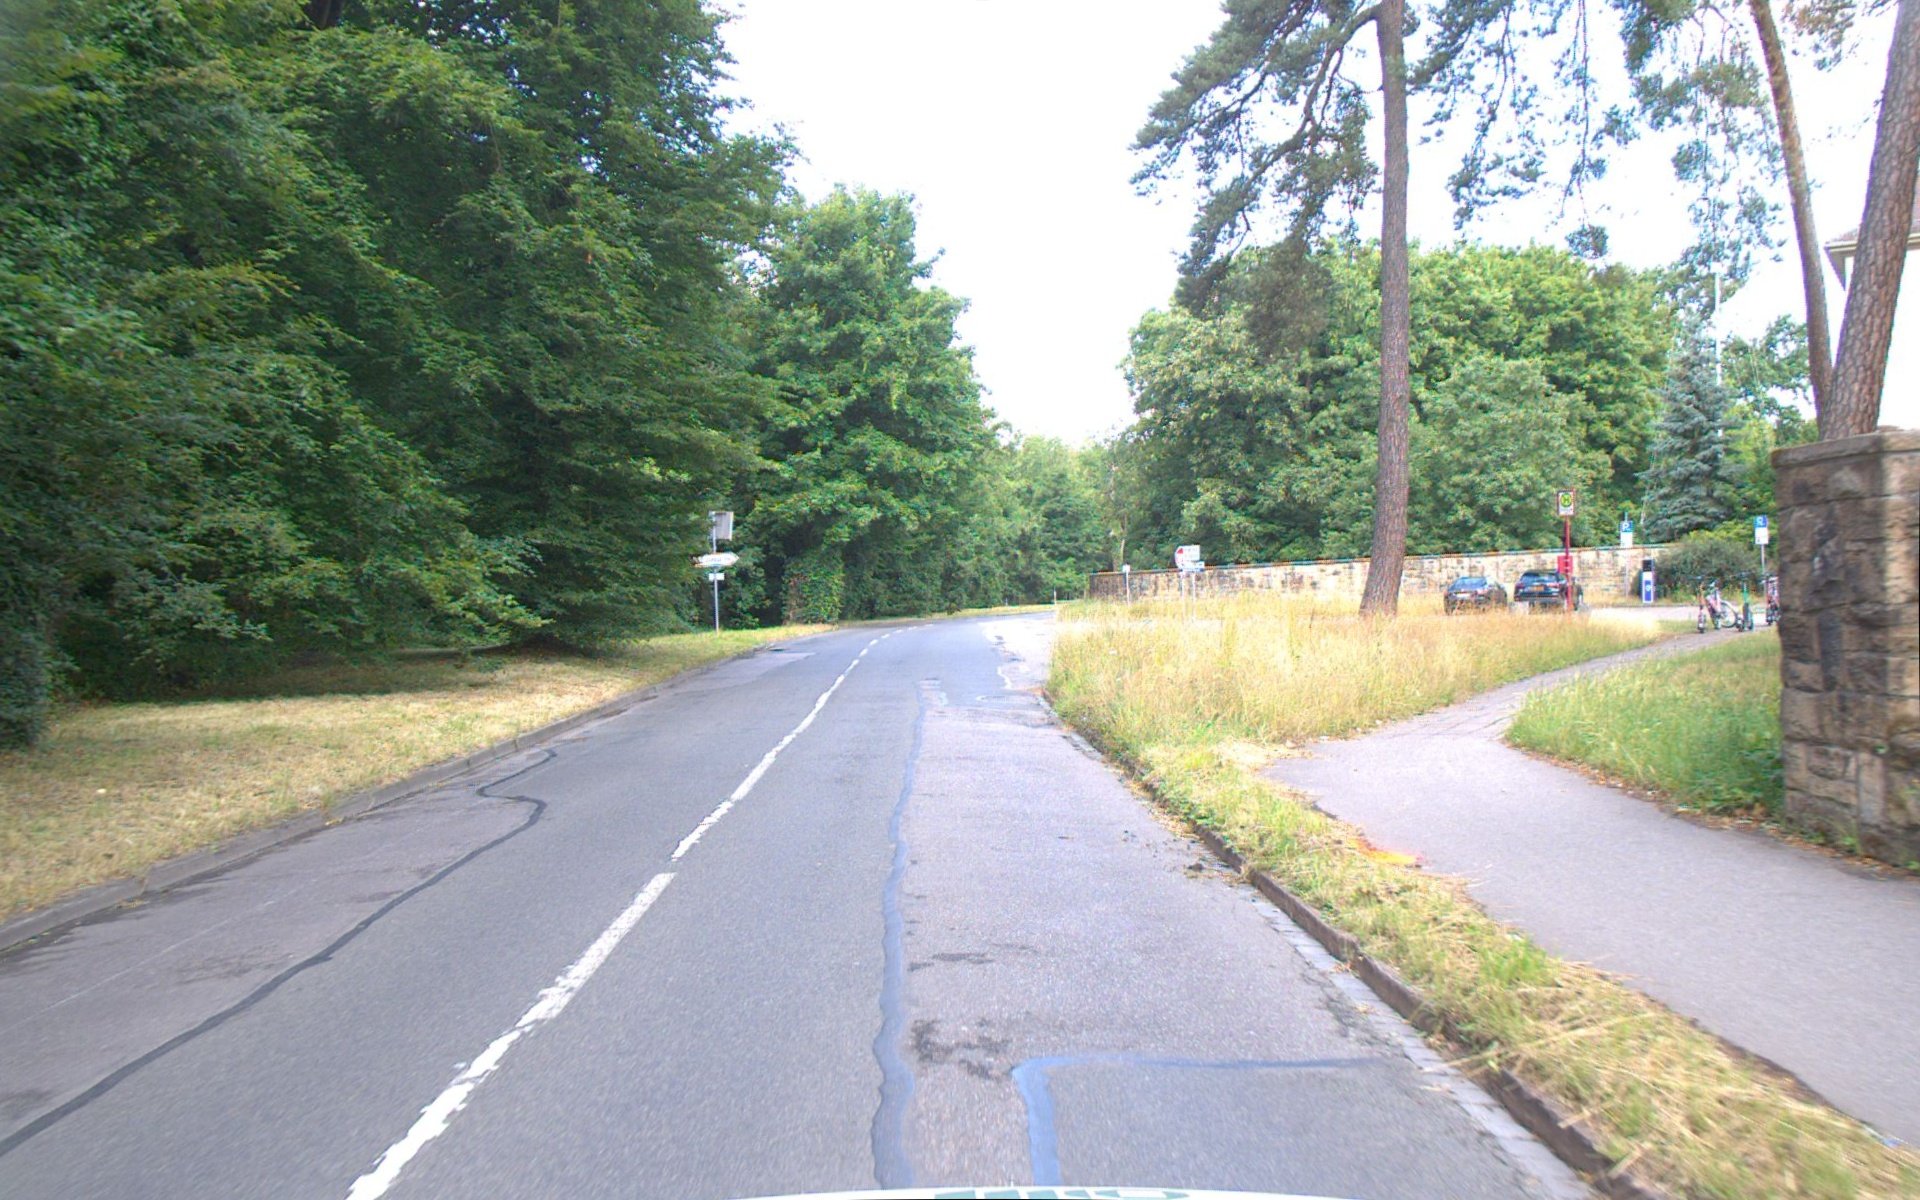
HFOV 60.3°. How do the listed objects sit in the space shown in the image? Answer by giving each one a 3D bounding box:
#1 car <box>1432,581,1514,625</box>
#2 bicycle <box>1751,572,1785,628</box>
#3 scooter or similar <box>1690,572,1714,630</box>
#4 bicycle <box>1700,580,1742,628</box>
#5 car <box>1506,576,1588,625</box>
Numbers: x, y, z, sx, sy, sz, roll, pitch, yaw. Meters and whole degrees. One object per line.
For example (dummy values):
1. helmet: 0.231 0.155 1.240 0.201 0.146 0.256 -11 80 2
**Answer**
1. car: 19.512 0.097 62.800 1.841 1.466 3.988 -2 1 35
2. bicycle: 19.132 -0.006 39.147 0.621 1.262 2.172 -2 -1 27
3. scooter or similar: 16.181 0.027 36.071 0.428 1.249 1.089 0 -1 27
4. bicycle: 17.689 0.082 38.431 0.725 1.103 1.679 0 0 30
5. car: 21.641 -0.009 60.892 1.861 1.573 3.988 -2 1 34
